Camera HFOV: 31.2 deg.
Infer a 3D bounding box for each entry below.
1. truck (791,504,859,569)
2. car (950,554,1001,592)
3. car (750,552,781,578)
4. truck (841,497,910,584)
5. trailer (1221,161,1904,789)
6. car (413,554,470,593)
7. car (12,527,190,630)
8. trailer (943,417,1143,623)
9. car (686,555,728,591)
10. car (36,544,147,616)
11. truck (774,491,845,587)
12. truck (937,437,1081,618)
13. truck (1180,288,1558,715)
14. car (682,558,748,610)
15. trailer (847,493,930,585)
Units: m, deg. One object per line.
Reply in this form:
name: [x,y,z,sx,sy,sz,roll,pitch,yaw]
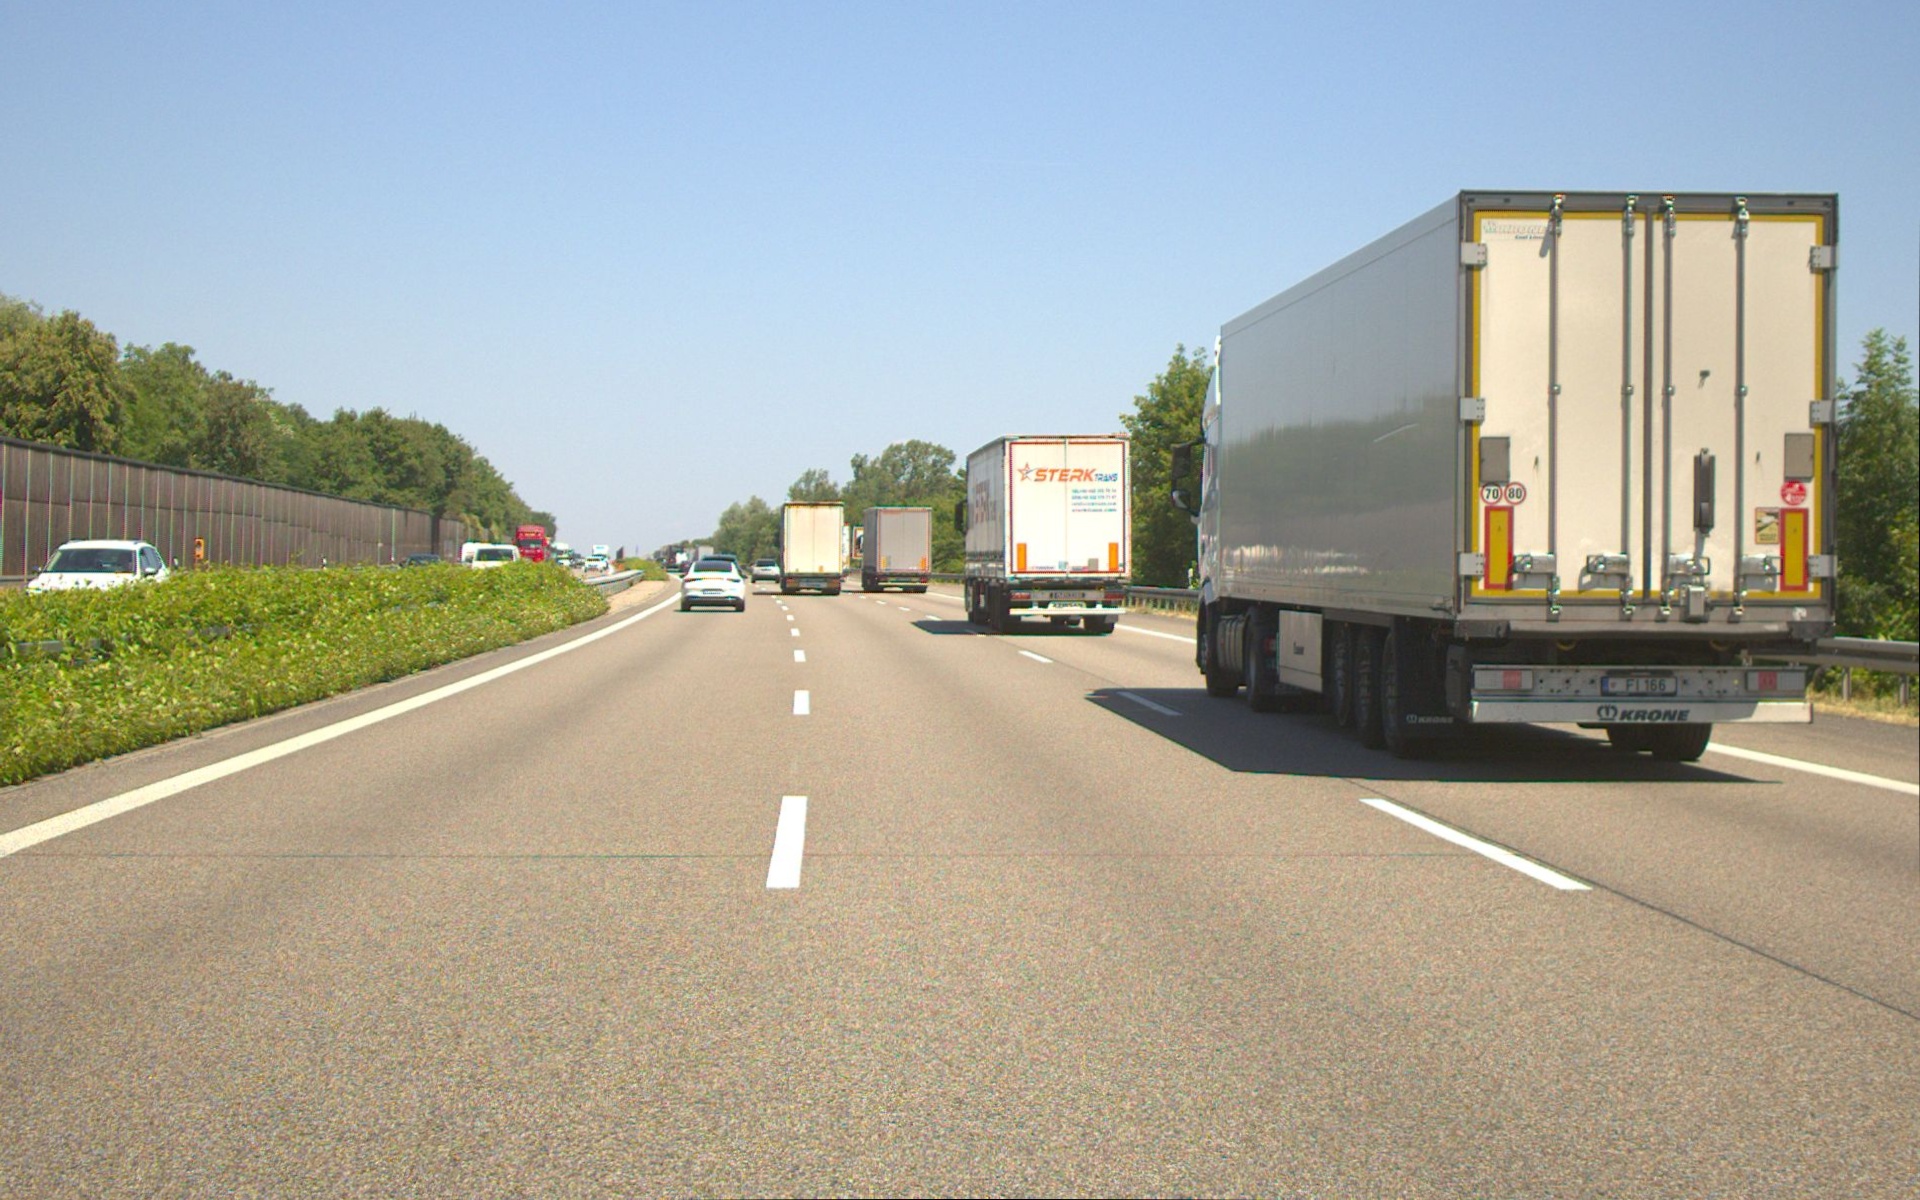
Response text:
truck: [-9.555,-4.427,241.498,3.373,4.289,11.452,4,0,-8]
car: [0.659,-1.160,147.744,1.855,1.611,4.001,1,0,-4]
car: [-12.427,-2.229,219.491,1.855,1.611,4.000,1,0,-2]
truck: [-4.292,-2.949,172.846,2.690,4.201,7.840,2,0,-6]
trailer: [4.441,-0.893,28.863,2.959,4.092,12.534,1,1,-3]
car: [-22.703,-1.171,150.571,1.993,1.638,5.587,1,1,-4]
car: [-14.373,-0.378,57.760,1.993,1.641,5.046,1,1,-3]
trailer: [1.631,-1.667,76.058,2.707,4.074,14.154,1,0,-5]
car: [-11.761,-1.252,159.968,1.855,1.611,4.001,1,0,-3]
car: [-24.910,-0.592,98.815,1.993,2.007,5.386,1,1,-2]
truck: [-6.826,-2.675,154.524,2.706,4.072,13.475,2,0,-4]
truck: [1.094,-1.689,82.044,2.707,4.074,6.965,1,0,-5]
truck: [4.157,-0.985,36.359,2.959,4.092,6.207,1,1,-2]
car: [-7.119,-0.476,99.965,1.855,1.481,4.001,1,0,-4]
trailer: [-3.534,-2.901,166.207,2.703,4.201,13.214,2,0,-6]
